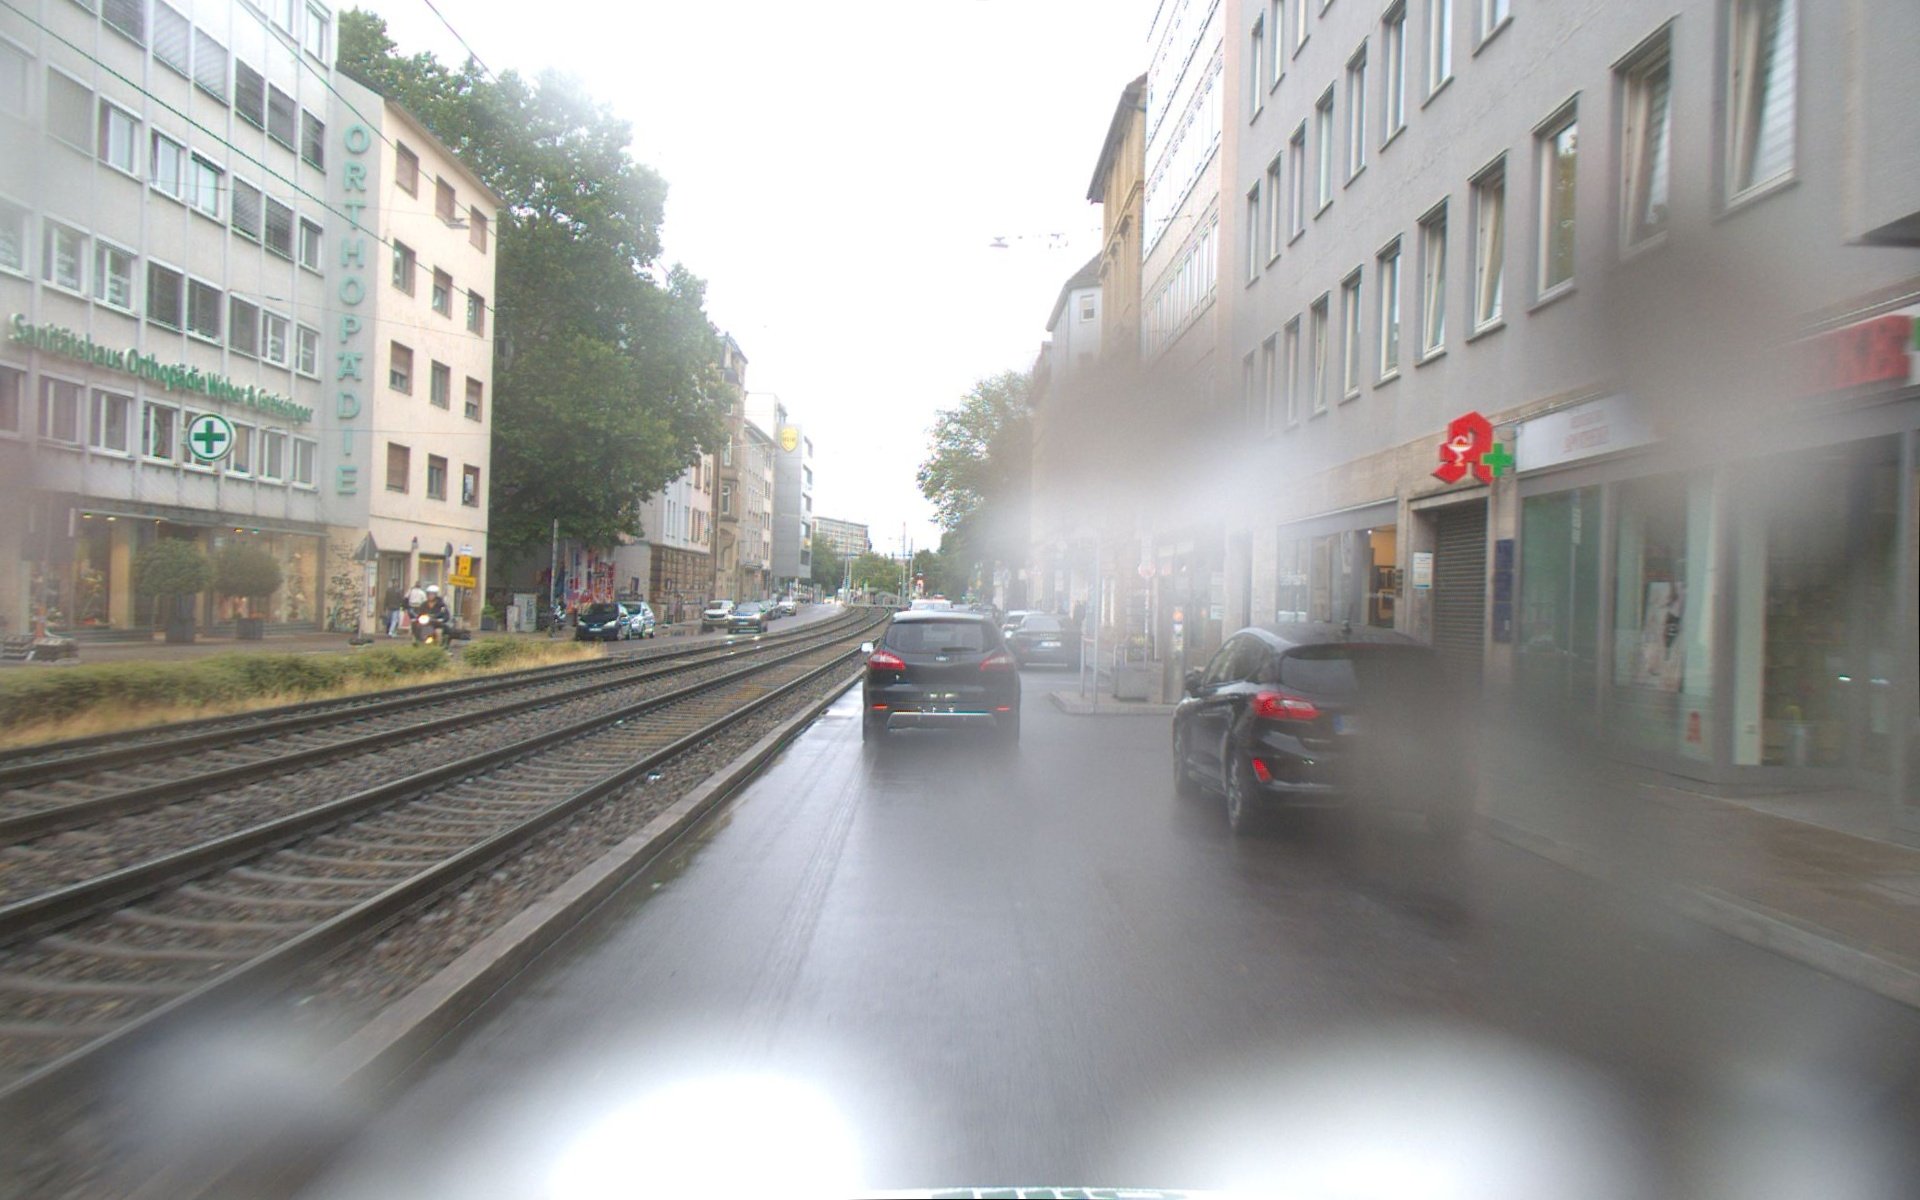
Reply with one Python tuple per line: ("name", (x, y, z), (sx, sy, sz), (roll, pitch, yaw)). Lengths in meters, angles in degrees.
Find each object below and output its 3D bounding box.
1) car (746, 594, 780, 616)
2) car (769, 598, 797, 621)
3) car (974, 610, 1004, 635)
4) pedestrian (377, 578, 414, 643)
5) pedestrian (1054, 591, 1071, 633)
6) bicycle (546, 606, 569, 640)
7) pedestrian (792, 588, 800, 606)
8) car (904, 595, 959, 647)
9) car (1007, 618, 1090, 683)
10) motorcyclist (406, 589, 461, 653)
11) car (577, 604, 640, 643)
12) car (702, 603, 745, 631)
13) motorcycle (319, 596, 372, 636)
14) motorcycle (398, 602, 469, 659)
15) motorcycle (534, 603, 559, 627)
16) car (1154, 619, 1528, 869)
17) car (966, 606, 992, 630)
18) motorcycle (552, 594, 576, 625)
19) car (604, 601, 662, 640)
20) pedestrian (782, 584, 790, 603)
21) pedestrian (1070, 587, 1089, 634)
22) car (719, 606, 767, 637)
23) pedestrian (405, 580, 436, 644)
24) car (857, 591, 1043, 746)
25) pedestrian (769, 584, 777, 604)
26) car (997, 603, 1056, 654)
("car", (-14.466, 0.359, 121.839), (1.953, 1.545, 4.675), (2, 0, -1))
("car", (-14.844, 0.779, 138.928), (1.953, 1.871, 5.069), (2, 0, -2))
("car", (1.873, 1.448, 107.607), (1.703, 1.515, 3.999), (2, 1, -2))
("pedestrian", (-17.146, 0.329, 50.262), (0.712, 1.929, 0.982), (2, -1, -1))
("pedestrian", (4.615, 0.531, 74.221), (0.648, 1.884, 0.821), (1, 0, -2))
("bicycle", (-15.477, 0.869, 63.662), (0.579, 1.248, 2.399), (2, -1, -8))
("pedestrian", (-16.641, -0.306, 167.837), (0.729, 1.886, 0.839), (1, -1, -2))
("car", (-1.040, 0.782, 61.412), (1.953, 1.848, 4.270), (1, -1, 0))
("car", (2.323, 1.327, 44.576), (1.953, 1.622, 4.571), (1, -1, 0))
("motorcyclist", (-10.606, 0.427, 33.349), (0.726, 1.239, 0.970), (2, -1, 1))
("car", (-14.095, 0.906, 66.523), (1.708, 1.494, 4.219), (0, 0, -1))
("car", (-14.273, 1.012, 99.997), (1.953, 1.545, 4.434), (2, 0, -1))
("motorcycle", (-19.109, 0.504, 51.415), (1.447, 1.200, 0.386), (2, 0, -2))
("motorcycle", (-10.612, 0.604, 33.398), (0.727, 1.078, 1.931), (2, -1, 1))
("motorcycle", (-18.619, 0.681, 74.495), (0.626, 1.051, 2.119), (2, 0, -2))
("car", (2.773, 0.981, 13.071), (1.953, 1.622, 4.270), (1, -1, 0))
("car", (1.290, 1.212, 112.287), (1.609, 1.542, 4.038), (2, 1, -2))
("motorcycle", (-18.461, 0.447, 77.172), (0.626, 1.403, 2.119), (2, 0, -2))
("car", (-14.089, 0.857, 71.469), (1.687, 1.597, 4.219), (2, 0, -1))
("pedestrian", (-17.032, -0.637, 161.831), (0.729, 1.886, 0.839), (1, -1, -2))
("pedestrian", (5.381, 0.471, 74.218), (0.721, 2.049, 0.821), (1, 0, -2))
("car", (-11.391, 1.104, 87.145), (1.953, 1.545, 4.443), (2, 0, -1))
("pedestrian", (-16.420, 0.358, 50.351), (0.664, 1.929, 0.742), (2, -1, -1))
("car", (-0.113, 0.760, 19.776), (1.953, 1.622, 4.270), (1, -1, 0))
("pedestrian", (-18.261, -0.600, 161.703), (0.729, 1.886, 0.839), (1, -1, -2))
("car", (2.197, 0.921, 55.828), (1.711, 1.549, 4.354), (2, 1, -1))
